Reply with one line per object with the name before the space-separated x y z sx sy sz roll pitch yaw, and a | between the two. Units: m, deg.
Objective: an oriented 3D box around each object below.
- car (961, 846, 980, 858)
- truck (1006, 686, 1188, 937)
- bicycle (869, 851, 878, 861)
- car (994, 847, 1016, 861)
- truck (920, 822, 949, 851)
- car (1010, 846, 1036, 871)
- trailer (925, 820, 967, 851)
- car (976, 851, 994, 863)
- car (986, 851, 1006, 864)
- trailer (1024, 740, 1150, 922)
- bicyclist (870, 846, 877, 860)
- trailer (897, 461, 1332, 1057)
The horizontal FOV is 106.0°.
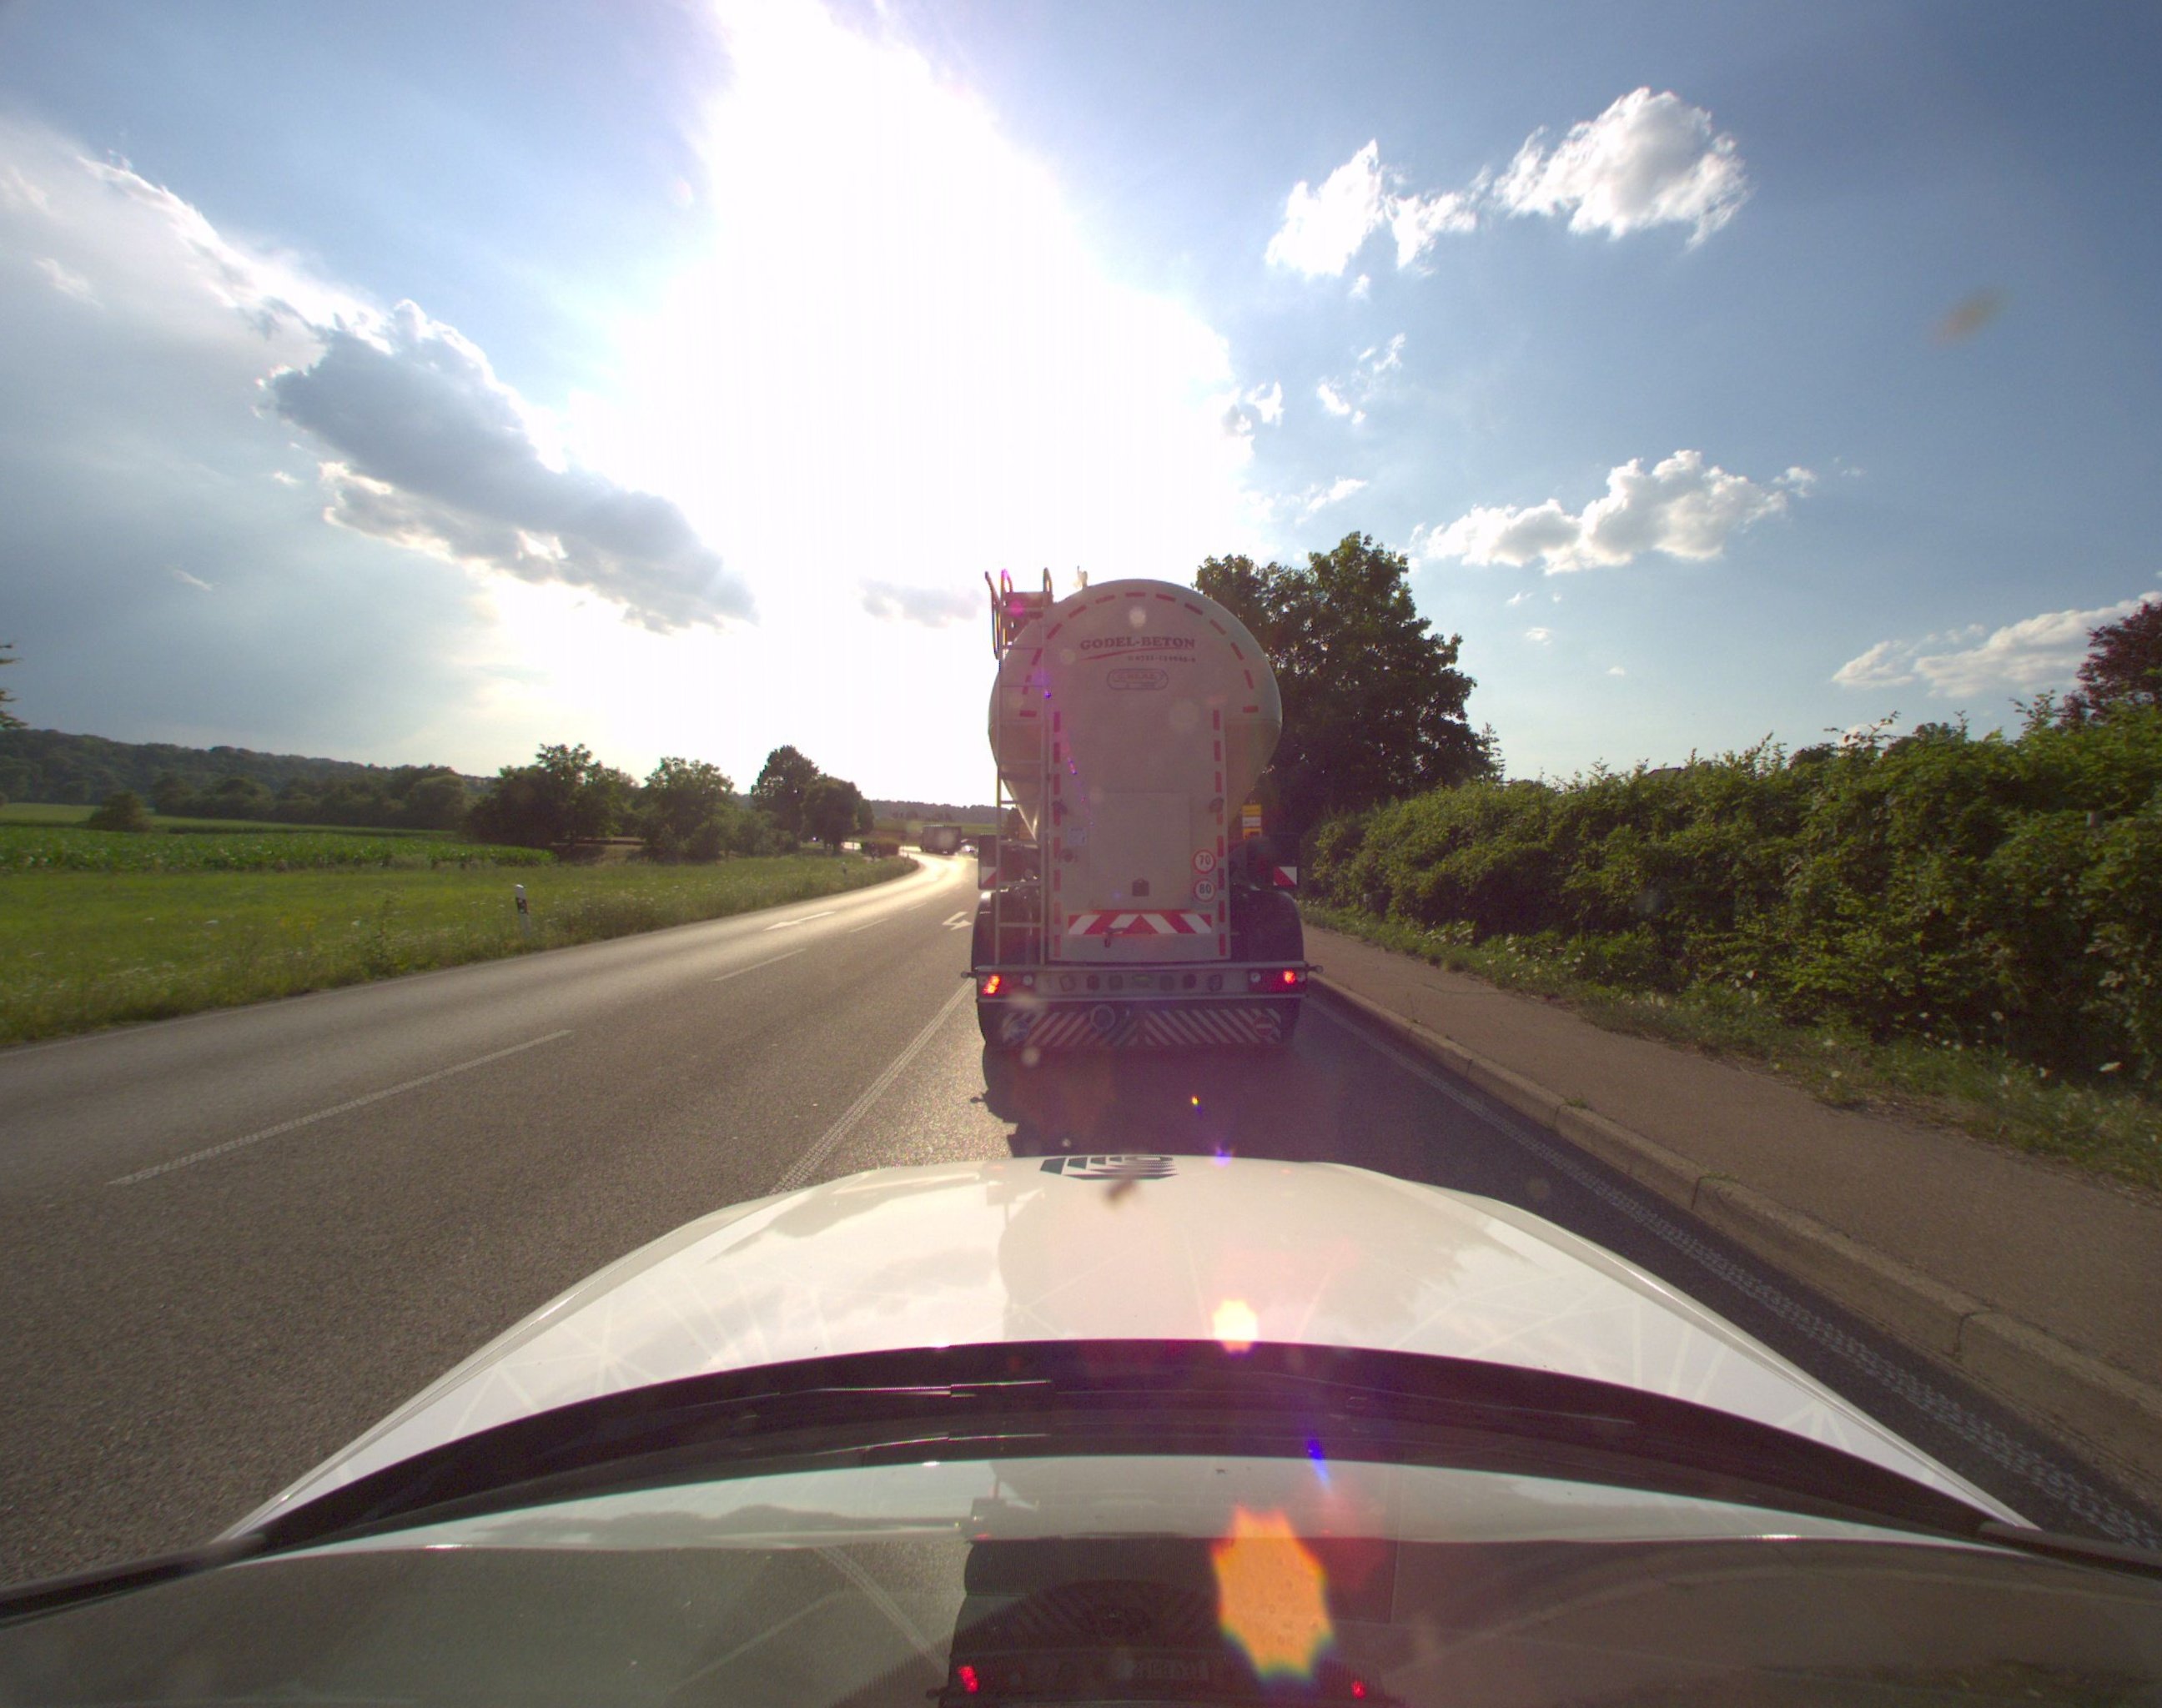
car | -13.927 -0.236 102.698 1.774 1.205 3.407 -8 2 -16
truck | 0.267 -0.687 15.106 2.900 4.006 4.059 0 0 0
bicycle | -22.239 0.217 87.373 0.634 1.074 1.667 2 0 -6
car | -7.663 -0.014 81.900 1.583 1.341 3.407 1 0 -16
truck | -23.091 -2.694 128.006 3.388 4.350 5.665 1 0 -21
car | -4.842 0.346 67.451 1.861 2.013 3.708 0 0 -9
trailer | -20.102 -2.646 120.269 3.388 4.350 14.192 1 0 -21
car | -11.354 0.368 96.363 1.583 1.341 3.407 1 0 -16
car | -9.240 0.349 88.008 1.583 1.341 3.407 1 0 -16
trailer | 0.399 -0.571 26.600 2.943 4.315 14.182 1 0 2
bicyclist | -22.212 -0.095 87.291 0.634 1.419 0.689 2 0 -7
trailer | 0.242 -0.651 10.457 2.900 4.006 9.928 0 0 0
